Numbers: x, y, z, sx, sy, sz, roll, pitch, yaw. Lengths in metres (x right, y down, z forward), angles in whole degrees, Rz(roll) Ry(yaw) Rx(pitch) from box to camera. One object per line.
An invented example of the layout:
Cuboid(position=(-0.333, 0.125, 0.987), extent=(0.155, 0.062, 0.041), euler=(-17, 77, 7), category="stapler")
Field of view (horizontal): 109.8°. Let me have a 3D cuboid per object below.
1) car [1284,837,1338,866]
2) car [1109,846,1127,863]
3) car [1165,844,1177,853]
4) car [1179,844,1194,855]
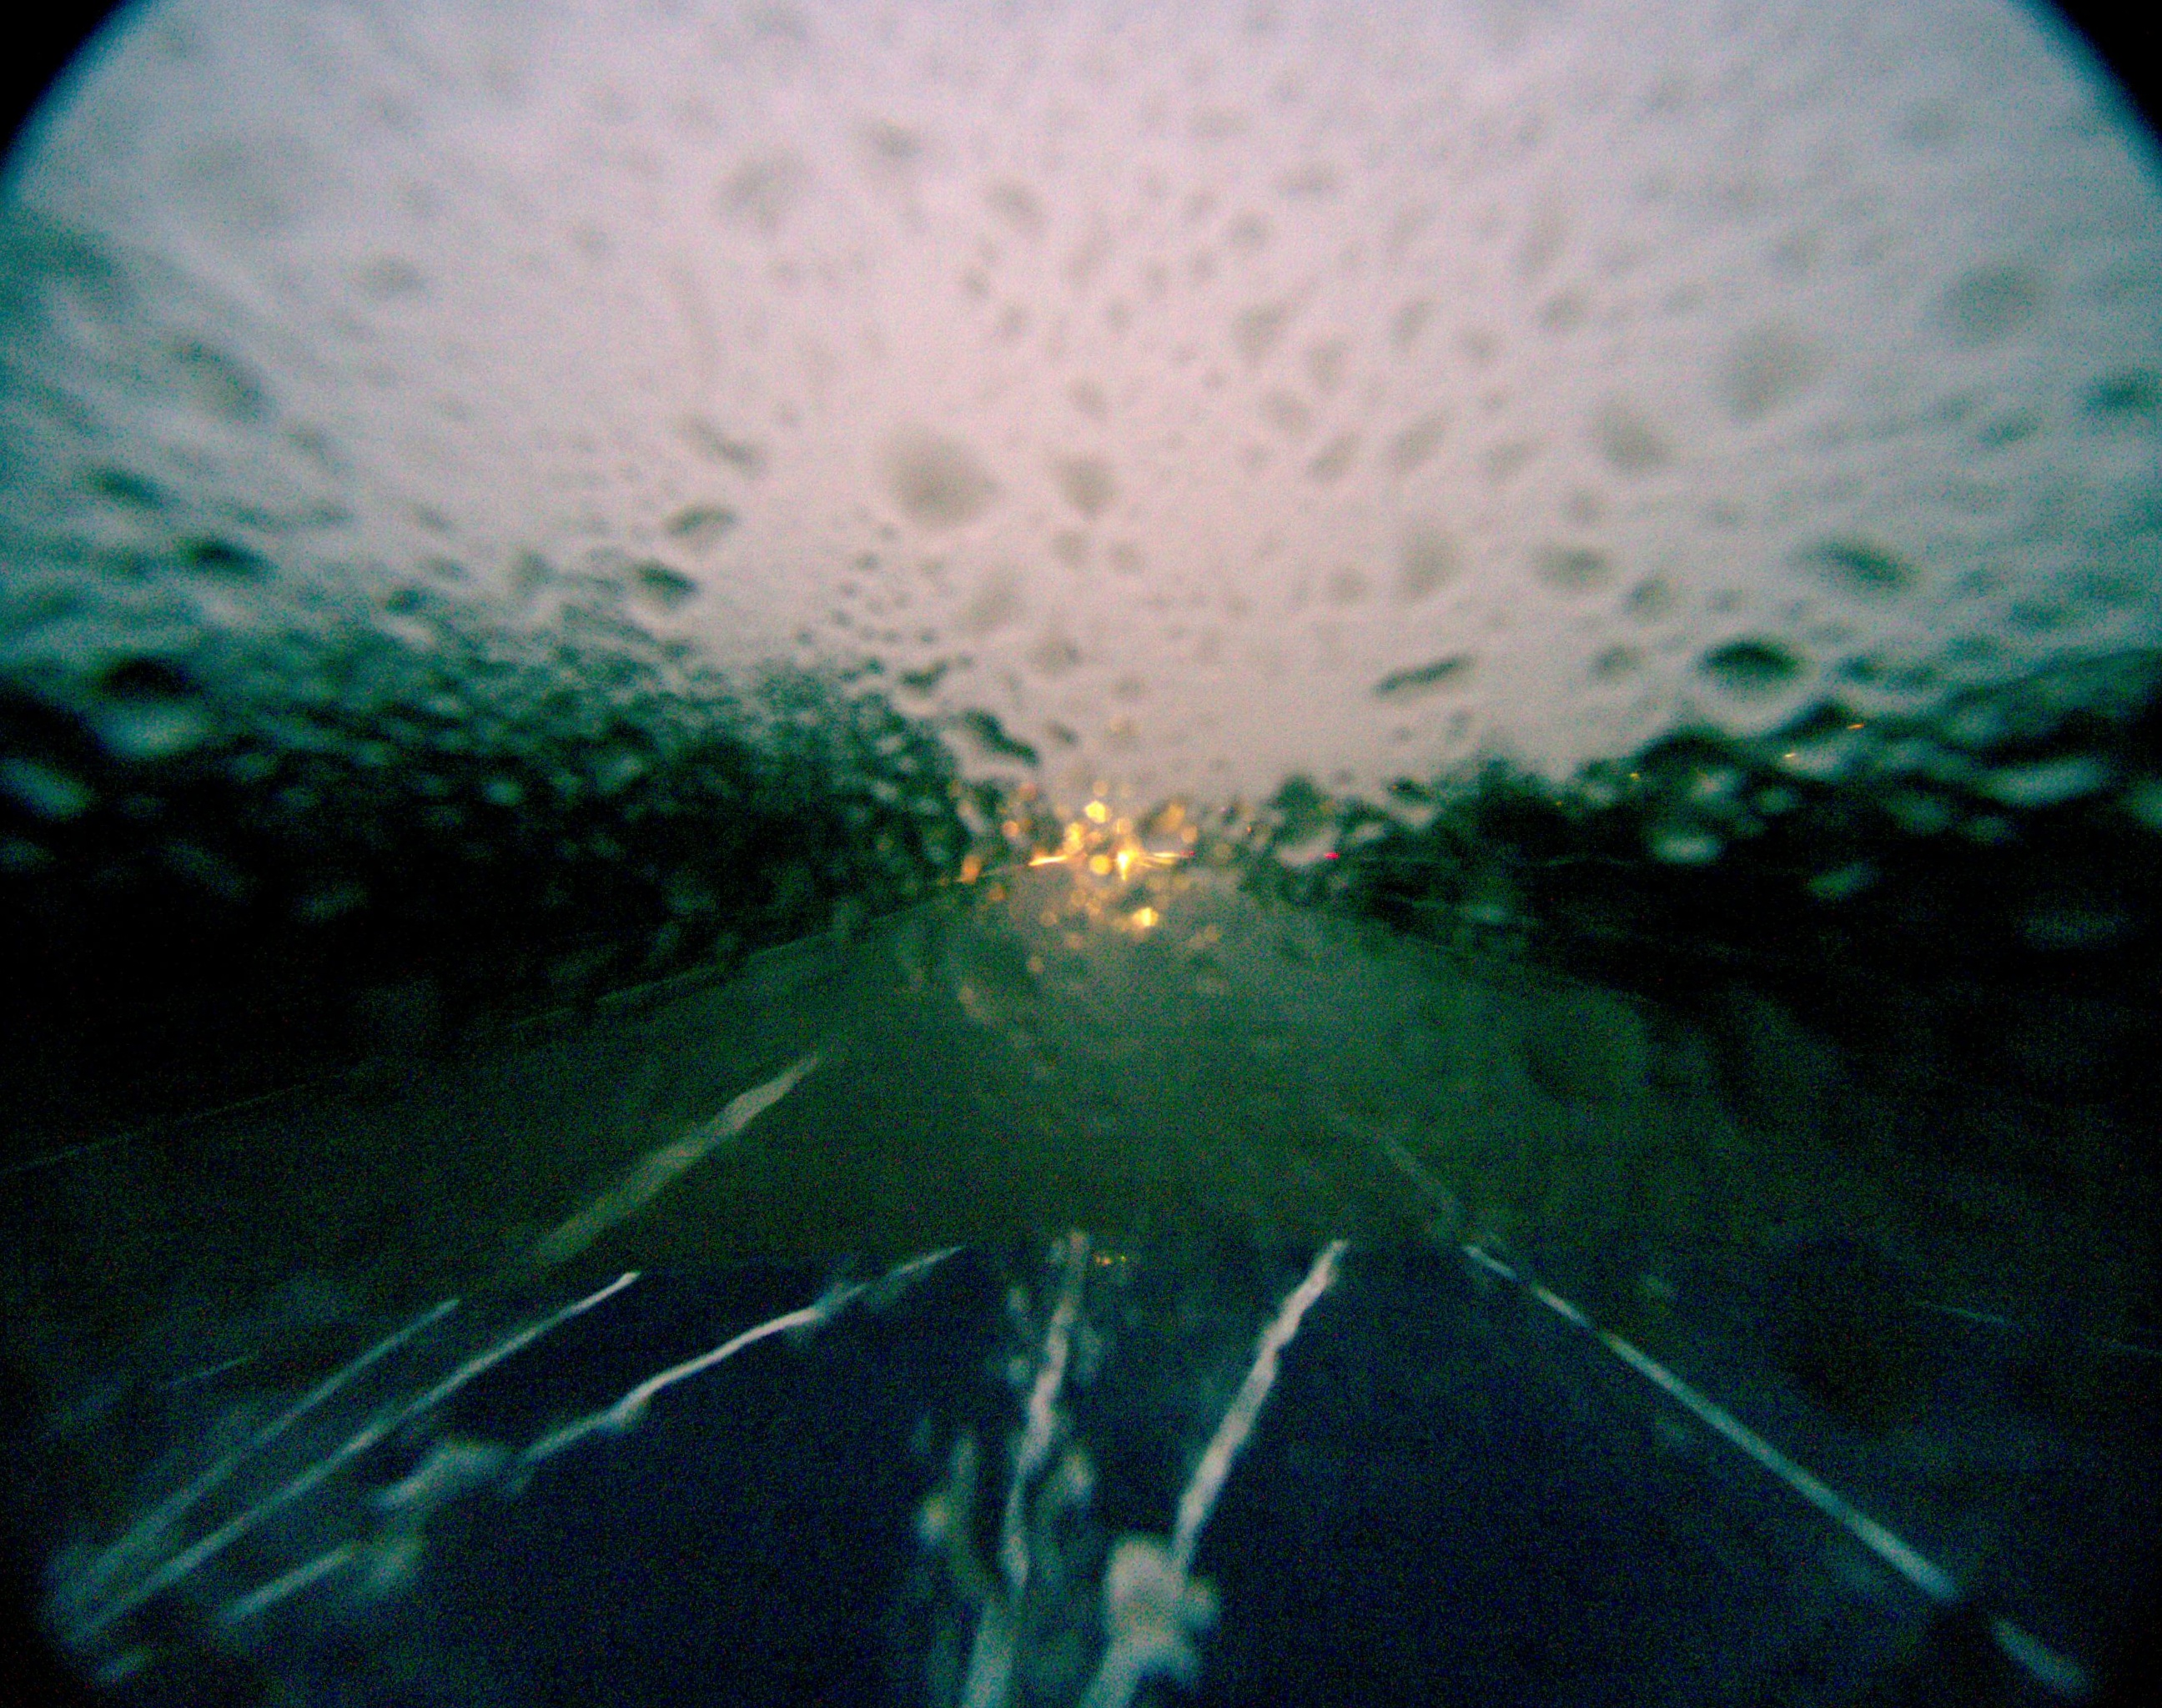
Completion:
Cuboid(position=(13.996, -0.161, 46.477), extent=(1.767, 1.617, 4.525), euler=(-2, 1, -1), category="car")
Cuboid(position=(4.795, 0.017, 100.188), extent=(1.999, 2.002, 3.999), euler=(-5, 1, 0), category="car")
Cuboid(position=(16.453, -1.057, 138.518), extent=(1.707, 1.467, 4.365), euler=(-2, 1, 2), category="car")
Cuboid(position=(15.489, -0.719, 111.506), extent=(1.707, 1.467, 4.365), euler=(-2, 1, 2), category="car")
